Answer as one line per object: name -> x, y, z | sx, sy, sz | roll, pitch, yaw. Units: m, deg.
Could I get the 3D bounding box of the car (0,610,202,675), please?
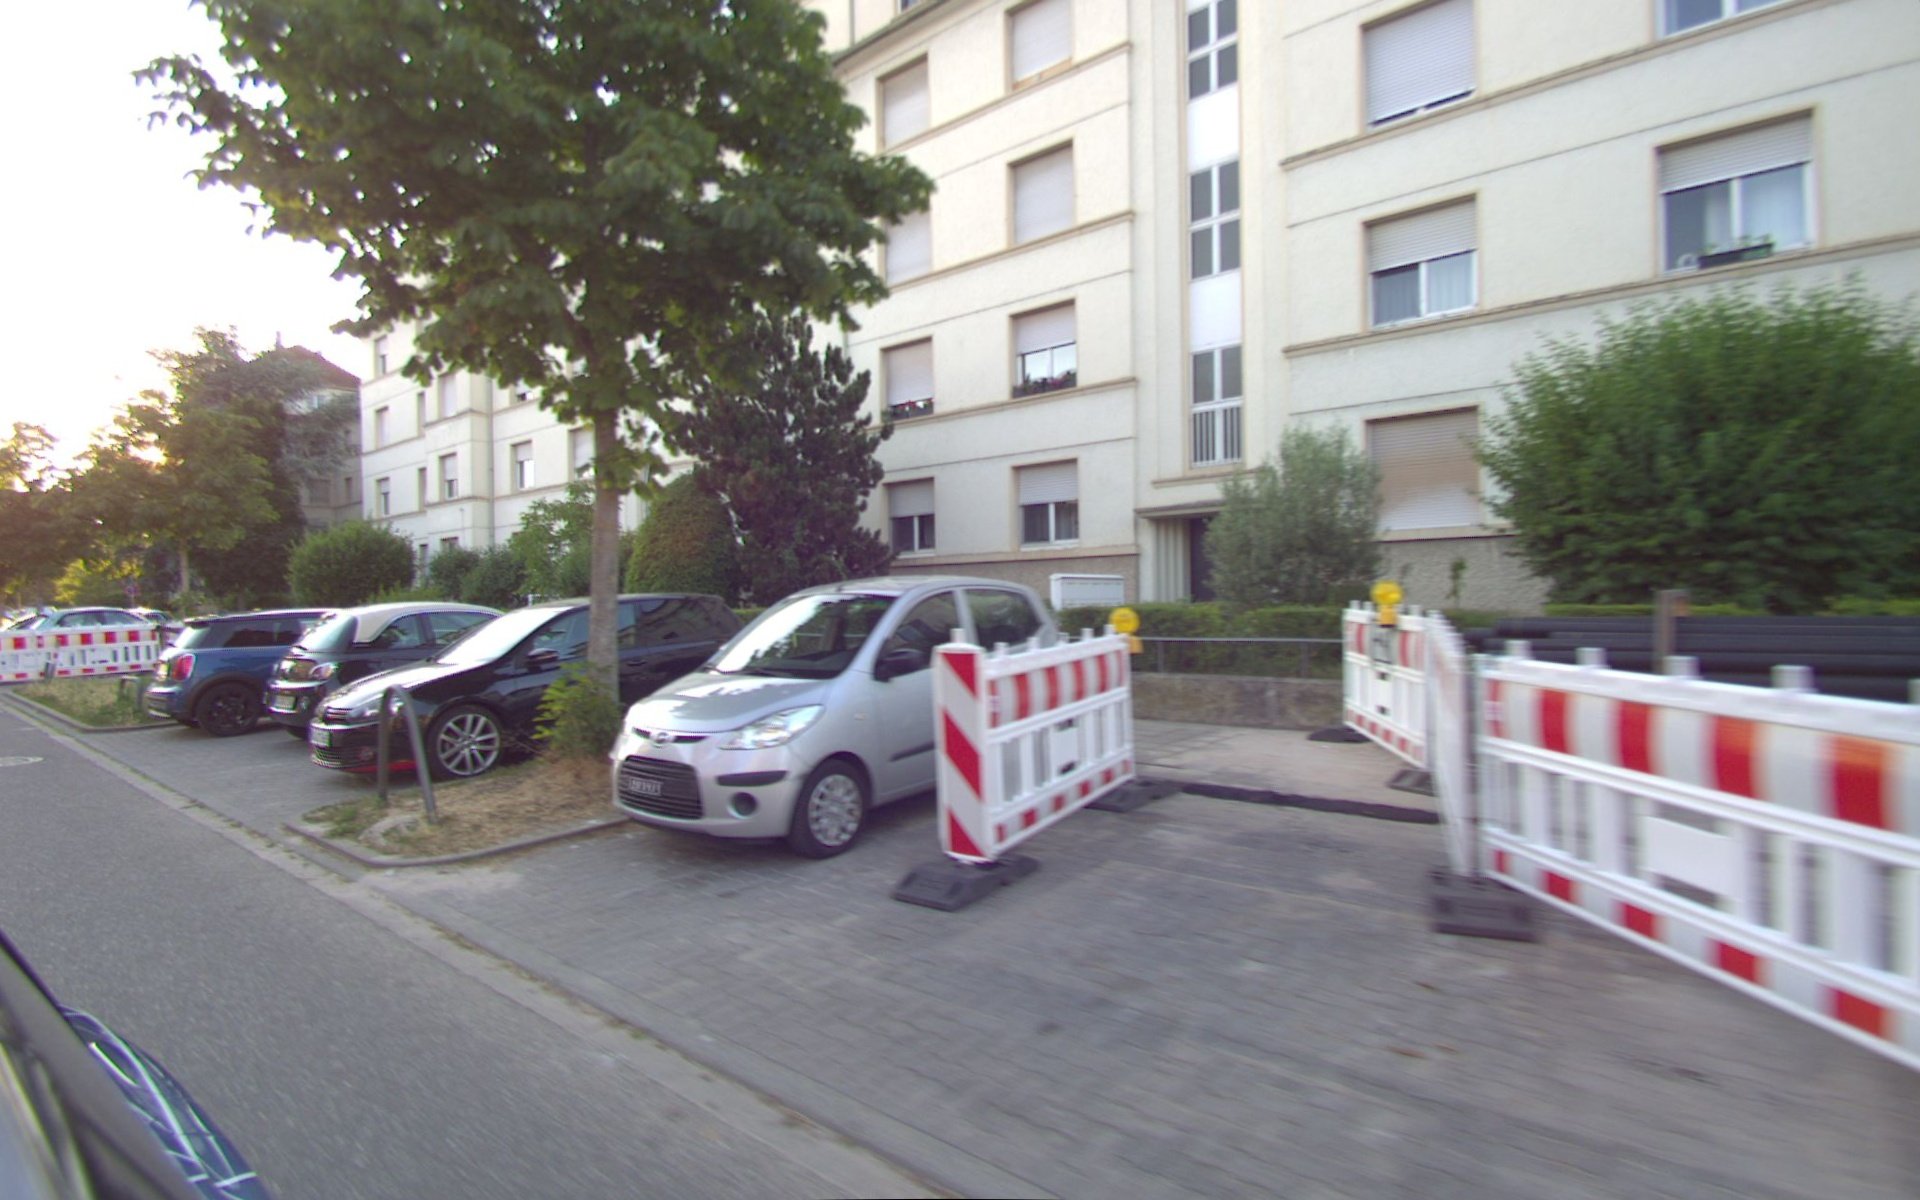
car -> -24.434, 1.147, 28.601 | 1.723, 1.495, 4.472 | -2, 1, 33

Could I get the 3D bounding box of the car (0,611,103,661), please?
car -> -32.119, 1.248, 34.733 | 1.728, 1.553, 3.943 | -2, 1, 43

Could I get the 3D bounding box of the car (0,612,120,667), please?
car -> -28.437, 1.205, 30.975 | 1.728, 1.495, 3.988 | -2, 1, 43

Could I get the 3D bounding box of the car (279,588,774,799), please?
car -> -3.895, 0.677, 9.574 | 1.728, 1.500, 3.934 | 0, 2, 43

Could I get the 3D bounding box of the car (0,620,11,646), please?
car -> -63.470, 2.174, 64.668 | 4.073, 1.696, 2.002 | -1, -1, -44

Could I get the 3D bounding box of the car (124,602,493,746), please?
car -> -8.209, 0.814, 12.971 | 1.728, 1.456, 3.638 | 0, 2, 42

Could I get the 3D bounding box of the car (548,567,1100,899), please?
car -> -0.667, 0.591, 6.729 | 1.725, 1.578, 3.443 | 0, 1, 36

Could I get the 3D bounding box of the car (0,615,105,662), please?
car -> -30.705, 1.283, 33.234 | 1.606, 1.395, 3.801 | -2, 1, 42

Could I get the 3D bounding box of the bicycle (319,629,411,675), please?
bicycle -> -14.611, 1.265, 24.900 | 0.360, 0.999, 1.900 | -1, 1, 42

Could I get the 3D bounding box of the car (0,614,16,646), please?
car -> -65.212, 2.027, 66.465 | 4.719, 2.085, 2.002 | -1, -1, -44

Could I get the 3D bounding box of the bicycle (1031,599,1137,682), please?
bicycle -> 1.648, 0.498, 13.235 | 0.363, 1.016, 1.912 | -1, -1, 41

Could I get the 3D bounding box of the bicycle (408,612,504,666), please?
bicycle -> -12.172, 0.913, 24.507 | 0.540, 1.195, 2.007 | -1, 1, 42

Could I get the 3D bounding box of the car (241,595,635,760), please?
car -> -5.868, 0.752, 11.690 | 1.727, 1.495, 3.640 | -1, 1, 40

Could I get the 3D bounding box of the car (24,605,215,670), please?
car -> -22.475, 0.959, 27.150 | 1.726, 1.495, 3.663 | -2, 1, 39
